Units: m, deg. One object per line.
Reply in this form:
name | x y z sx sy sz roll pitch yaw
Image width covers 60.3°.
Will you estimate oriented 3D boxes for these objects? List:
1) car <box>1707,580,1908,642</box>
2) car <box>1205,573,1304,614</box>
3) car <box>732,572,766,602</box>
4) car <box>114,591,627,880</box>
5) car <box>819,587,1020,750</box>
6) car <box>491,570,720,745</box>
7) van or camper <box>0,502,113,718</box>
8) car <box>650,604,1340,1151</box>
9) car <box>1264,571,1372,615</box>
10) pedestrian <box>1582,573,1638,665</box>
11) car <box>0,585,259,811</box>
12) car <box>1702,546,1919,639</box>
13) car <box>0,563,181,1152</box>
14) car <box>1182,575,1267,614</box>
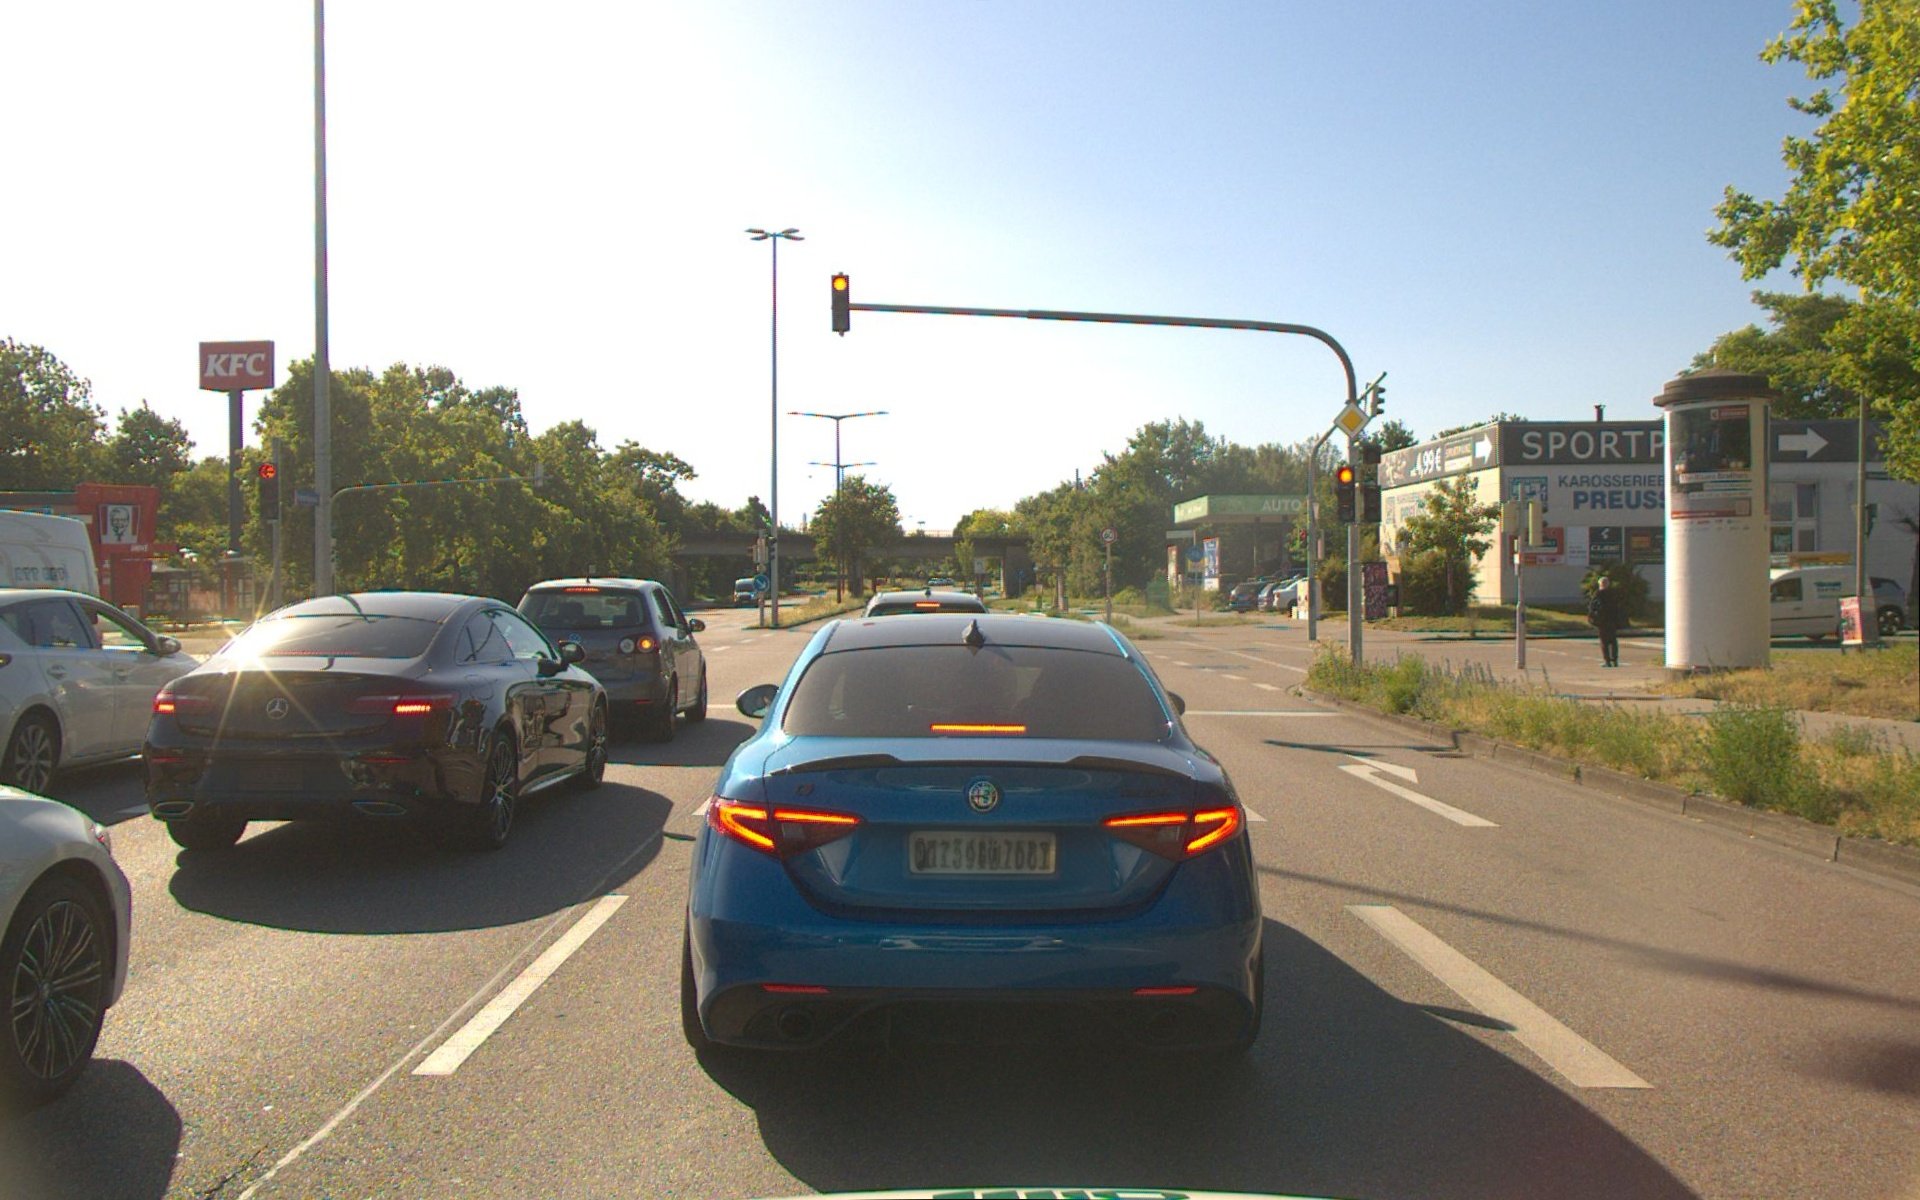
car | 22.213 0.269 43.444 4.318 1.580 1.998 0 0 -4
car | 12.668 -0.268 71.145 3.928 1.736 1.686 0 0 -20
car | -17.982 -1.100 141.189 2.383 2.469 5.828 0 0 -2
car | -3.417 0.669 10.561 1.732 1.439 4.460 0 0 -1
car | -0.395 0.608 17.047 1.828 1.475 3.931 0 0 -1
car | -3.603 0.523 17.455 1.615 1.626 3.931 0 0 -1
van or camper | -12.706 0.160 19.270 2.133 2.617 6.754 -2 0 0
car | 0.070 0.746 6.369 1.828 1.409 3.931 0 0 -1
car | 14.340 -0.279 66.315 3.923 1.736 1.687 0 0 -17
pedestrian | 12.601 0.355 32.082 0.805 1.752 0.854 0 0 6
car | -7.128 0.620 12.516 1.819 1.454 4.403 0 0 -1
car | 20.599 -0.190 40.152 4.318 2.183 1.998 0 0 -4
car | -3.351 0.682 3.088 1.732 1.535 4.460 0 0 -1
car | 11.872 -0.263 74.324 3.428 1.736 1.688 0 0 -17
